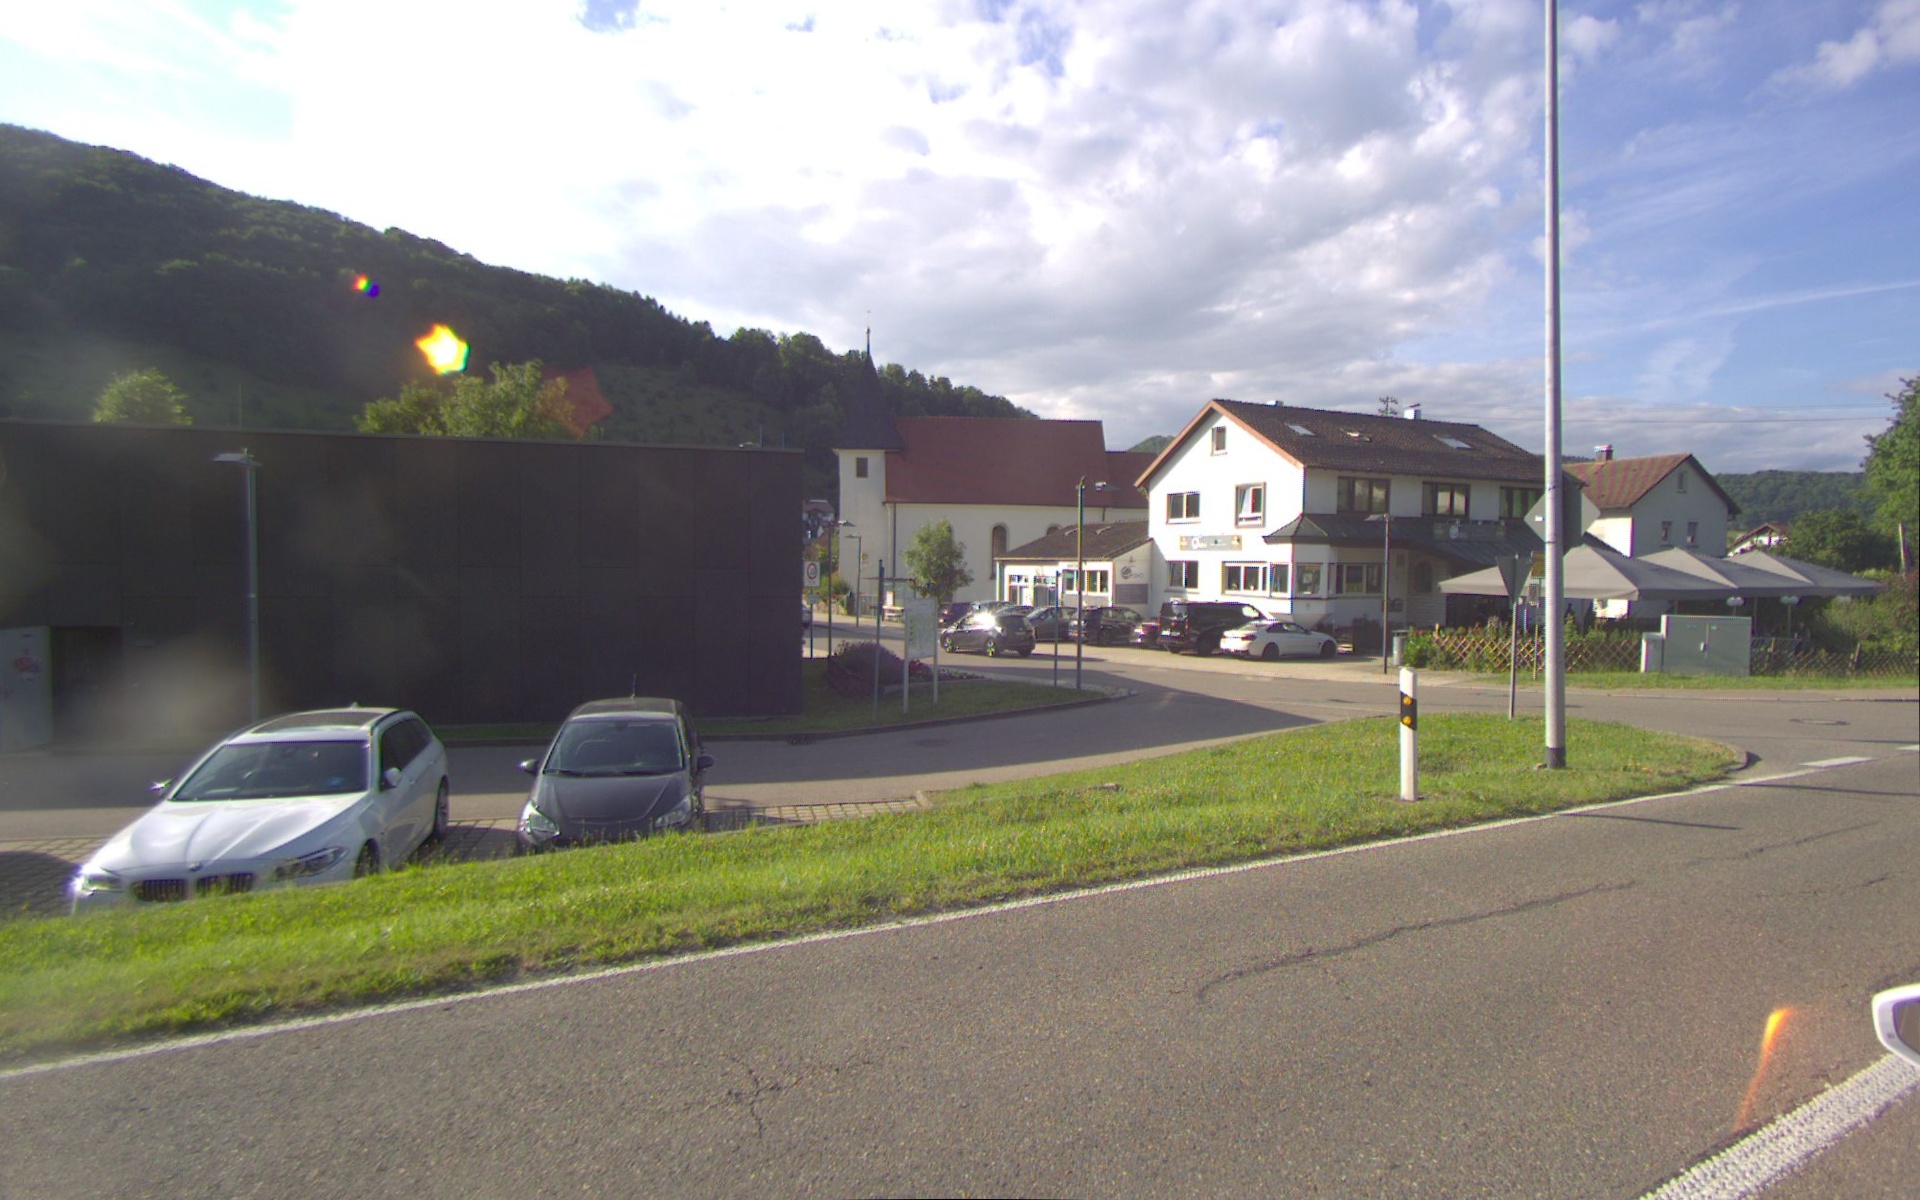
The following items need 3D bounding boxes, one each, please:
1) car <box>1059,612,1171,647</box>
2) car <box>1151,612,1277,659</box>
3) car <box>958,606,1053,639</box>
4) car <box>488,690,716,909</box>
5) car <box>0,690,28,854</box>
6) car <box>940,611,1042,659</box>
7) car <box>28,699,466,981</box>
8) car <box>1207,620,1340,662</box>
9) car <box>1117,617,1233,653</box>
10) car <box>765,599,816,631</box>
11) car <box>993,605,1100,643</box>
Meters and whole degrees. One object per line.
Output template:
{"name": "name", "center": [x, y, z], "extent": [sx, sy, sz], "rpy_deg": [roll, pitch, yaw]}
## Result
{"name": "car", "center": [6.670, 1.264, 43.247], "extent": [4.520, 1.431, 1.985], "rpy_deg": [1, -1, -29]}
{"name": "car", "center": [9.692, 1.318, 38.262], "extent": [4.520, 1.708, 1.985], "rpy_deg": [1, -1, -29]}
{"name": "car", "center": [2.334, 1.155, 51.594], "extent": [4.520, 1.665, 1.985], "rpy_deg": [1, -1, -29]}
{"name": "car", "center": [-3.586, 1.903, 10.750], "extent": [1.802, 1.555, 3.990], "rpy_deg": [0, -1, -13]}
{"name": "car", "center": [-10.402, 1.830, 8.557], "extent": [1.882, 1.660, 4.281], "rpy_deg": [0, 1, -17]}
{"name": "car", "center": [1.124, 1.285, 38.085], "extent": [1.874, 1.706, 3.959], "rpy_deg": [1, -1, -36]}
{"name": "car", "center": [-6.129, 1.897, 9.411], "extent": [1.881, 1.517, 4.639], "rpy_deg": [1, -1, -16]}
{"name": "car", "center": [11.280, 1.445, 36.092], "extent": [4.520, 1.408, 1.985], "rpy_deg": [1, -1, -29]}
{"name": "car", "center": [8.886, 1.403, 41.395], "extent": [4.520, 1.408, 1.985], "rpy_deg": [1, -1, -29]}
{"name": "car", "center": [-9.269, 0.815, 54.724], "extent": [1.761, 1.706, 3.974], "rpy_deg": [1, -1, -26]}
{"name": "car", "center": [3.912, 1.080, 45.334], "extent": [4.520, 1.618, 1.985], "rpy_deg": [1, -1, -29]}
